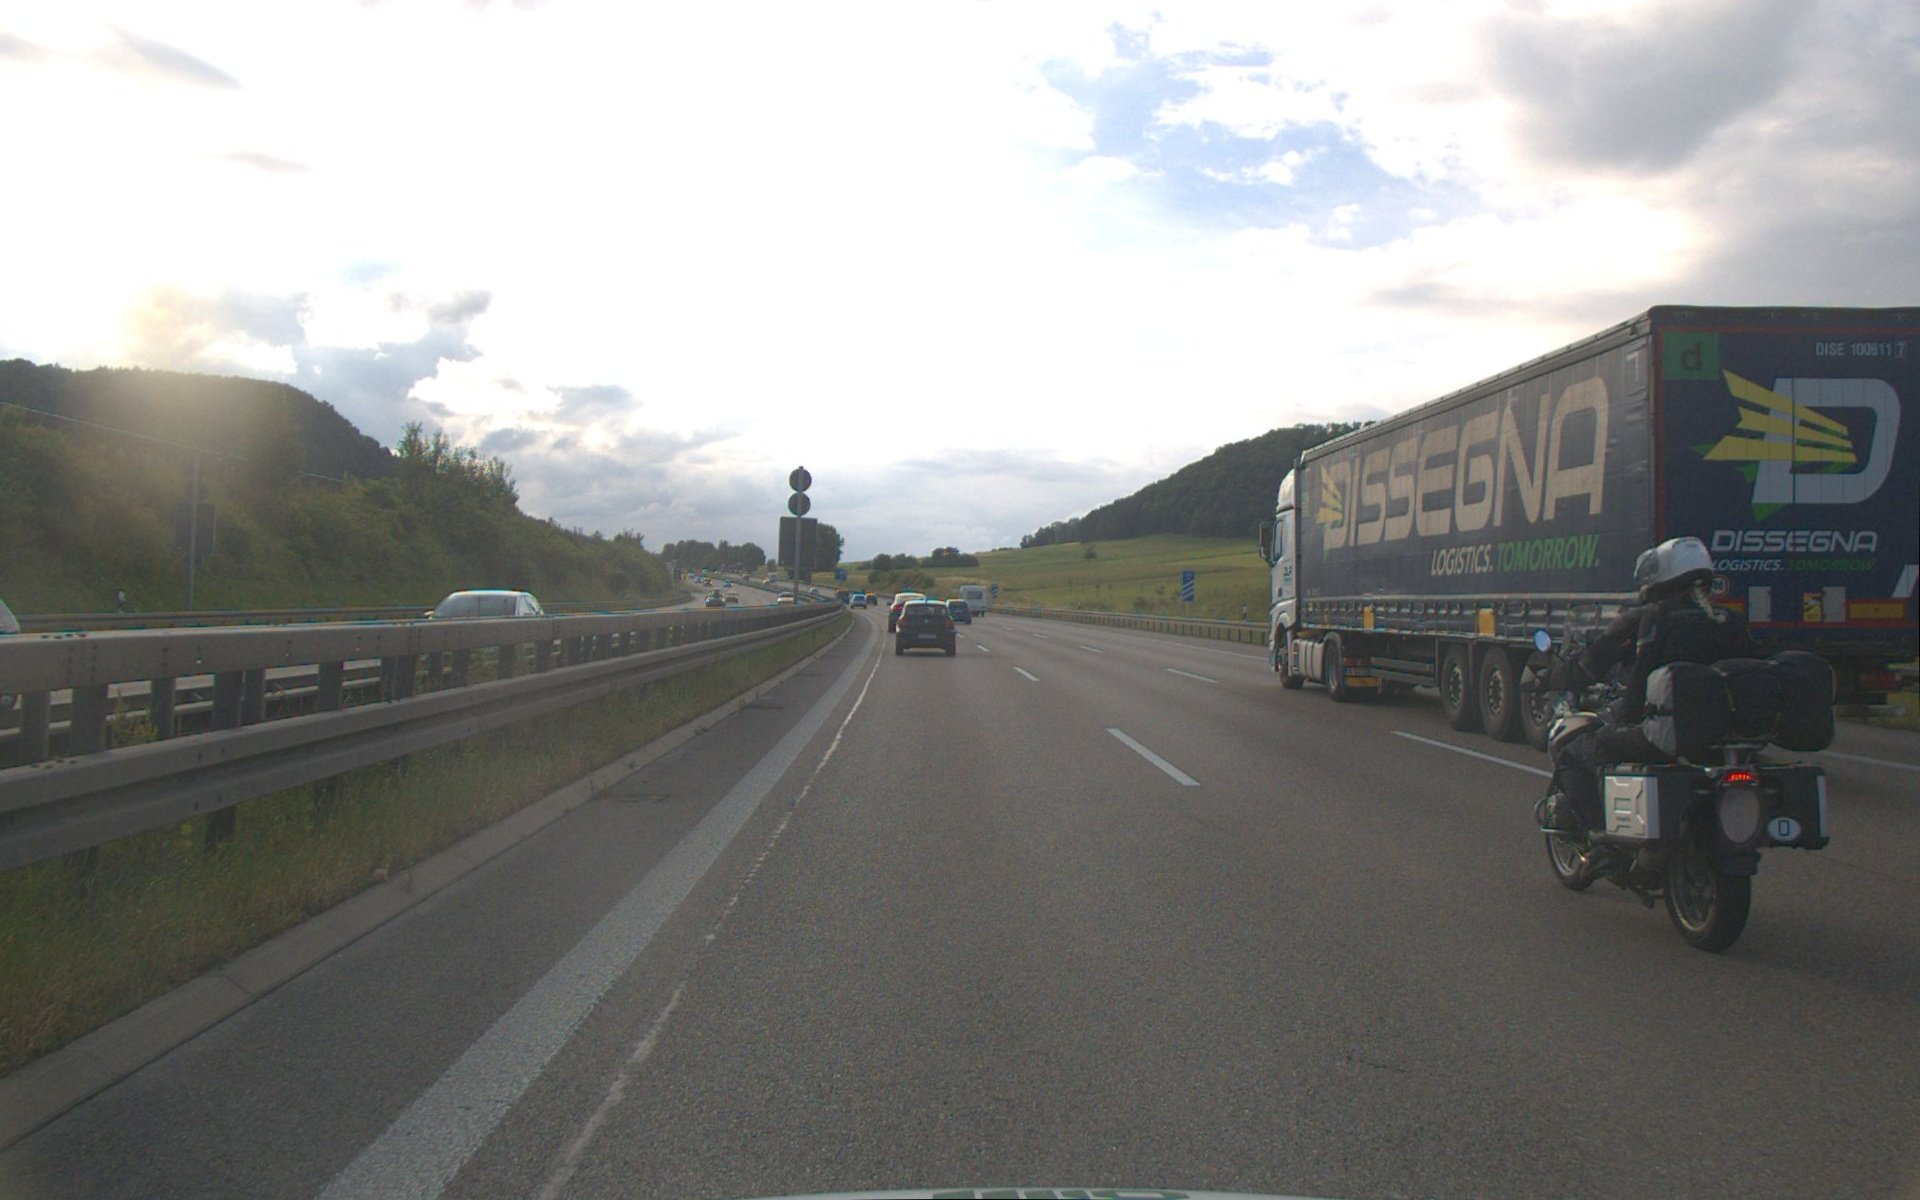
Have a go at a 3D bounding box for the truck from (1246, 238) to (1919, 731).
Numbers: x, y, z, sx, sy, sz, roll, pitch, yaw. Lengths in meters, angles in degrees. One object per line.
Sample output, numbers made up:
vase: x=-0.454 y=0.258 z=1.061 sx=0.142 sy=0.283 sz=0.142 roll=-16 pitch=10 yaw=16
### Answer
truck: x=7.091 y=-0.951 z=22.621 sx=2.904 sy=4.062 sz=17.727 roll=1 pitch=0 yaw=-1

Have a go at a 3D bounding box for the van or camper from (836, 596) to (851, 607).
van or camper: x=-16.003 y=0.205 z=227.057 sx=1.927 sy=1.458 sz=3.997 roll=1 pitch=0 yaw=-3

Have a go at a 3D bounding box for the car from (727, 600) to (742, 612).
car: x=-29.177 y=0.765 z=214.071 sx=1.673 sy=1.440 sz=3.995 roll=1 pitch=0 yaw=-5

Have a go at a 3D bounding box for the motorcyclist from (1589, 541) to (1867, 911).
motorcyclist: x=3.397 y=0.532 z=7.383 sx=0.858 sy=1.541 sz=0.797 roll=1 pitch=-1 yaw=1

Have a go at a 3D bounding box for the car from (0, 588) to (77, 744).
car: x=-11.190 y=0.704 z=17.320 sx=1.610 sy=1.685 sz=4.343 roll=1 pitch=0 yaw=-2

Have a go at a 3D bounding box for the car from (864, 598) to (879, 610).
car: x=-11.906 y=0.509 z=222.324 sx=1.917 sy=1.601 sz=3.999 roll=1 pitch=0 yaw=-1

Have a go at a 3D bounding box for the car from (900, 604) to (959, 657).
car: x=-0.811 y=0.807 z=45.607 sx=1.506 sy=1.371 sz=3.677 roll=1 pitch=0 yaw=0

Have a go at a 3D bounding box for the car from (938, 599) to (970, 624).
car: x=-0.391 y=0.701 z=99.895 sx=1.731 sy=1.458 sz=3.998 roll=1 pitch=0 yaw=-3

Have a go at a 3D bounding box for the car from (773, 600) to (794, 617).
car: x=-17.127 y=0.849 z=160.975 sx=1.797 sy=1.619 sz=5.015 roll=1 pitch=0 yaw=-4

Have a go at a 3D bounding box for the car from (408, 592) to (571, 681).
car: x=-8.120 y=0.601 z=28.888 sx=1.744 sy=1.434 sz=3.762 roll=1 pitch=0 yaw=0

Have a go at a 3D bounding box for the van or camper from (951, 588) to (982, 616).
van or camper: x=0.557 y=0.139 z=140.546 sx=2.495 sy=2.278 sz=5.329 roll=1 pitch=0 yaw=0

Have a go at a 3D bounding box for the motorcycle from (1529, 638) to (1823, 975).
motorcycle: x=3.296 y=0.886 z=7.792 sx=0.614 sy=1.362 sz=1.739 roll=1 pitch=0 yaw=-1

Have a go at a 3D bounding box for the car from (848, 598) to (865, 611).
car: x=-11.791 y=0.482 z=188.391 sx=1.733 sy=1.458 sz=3.995 roll=1 pitch=0 yaw=-6
